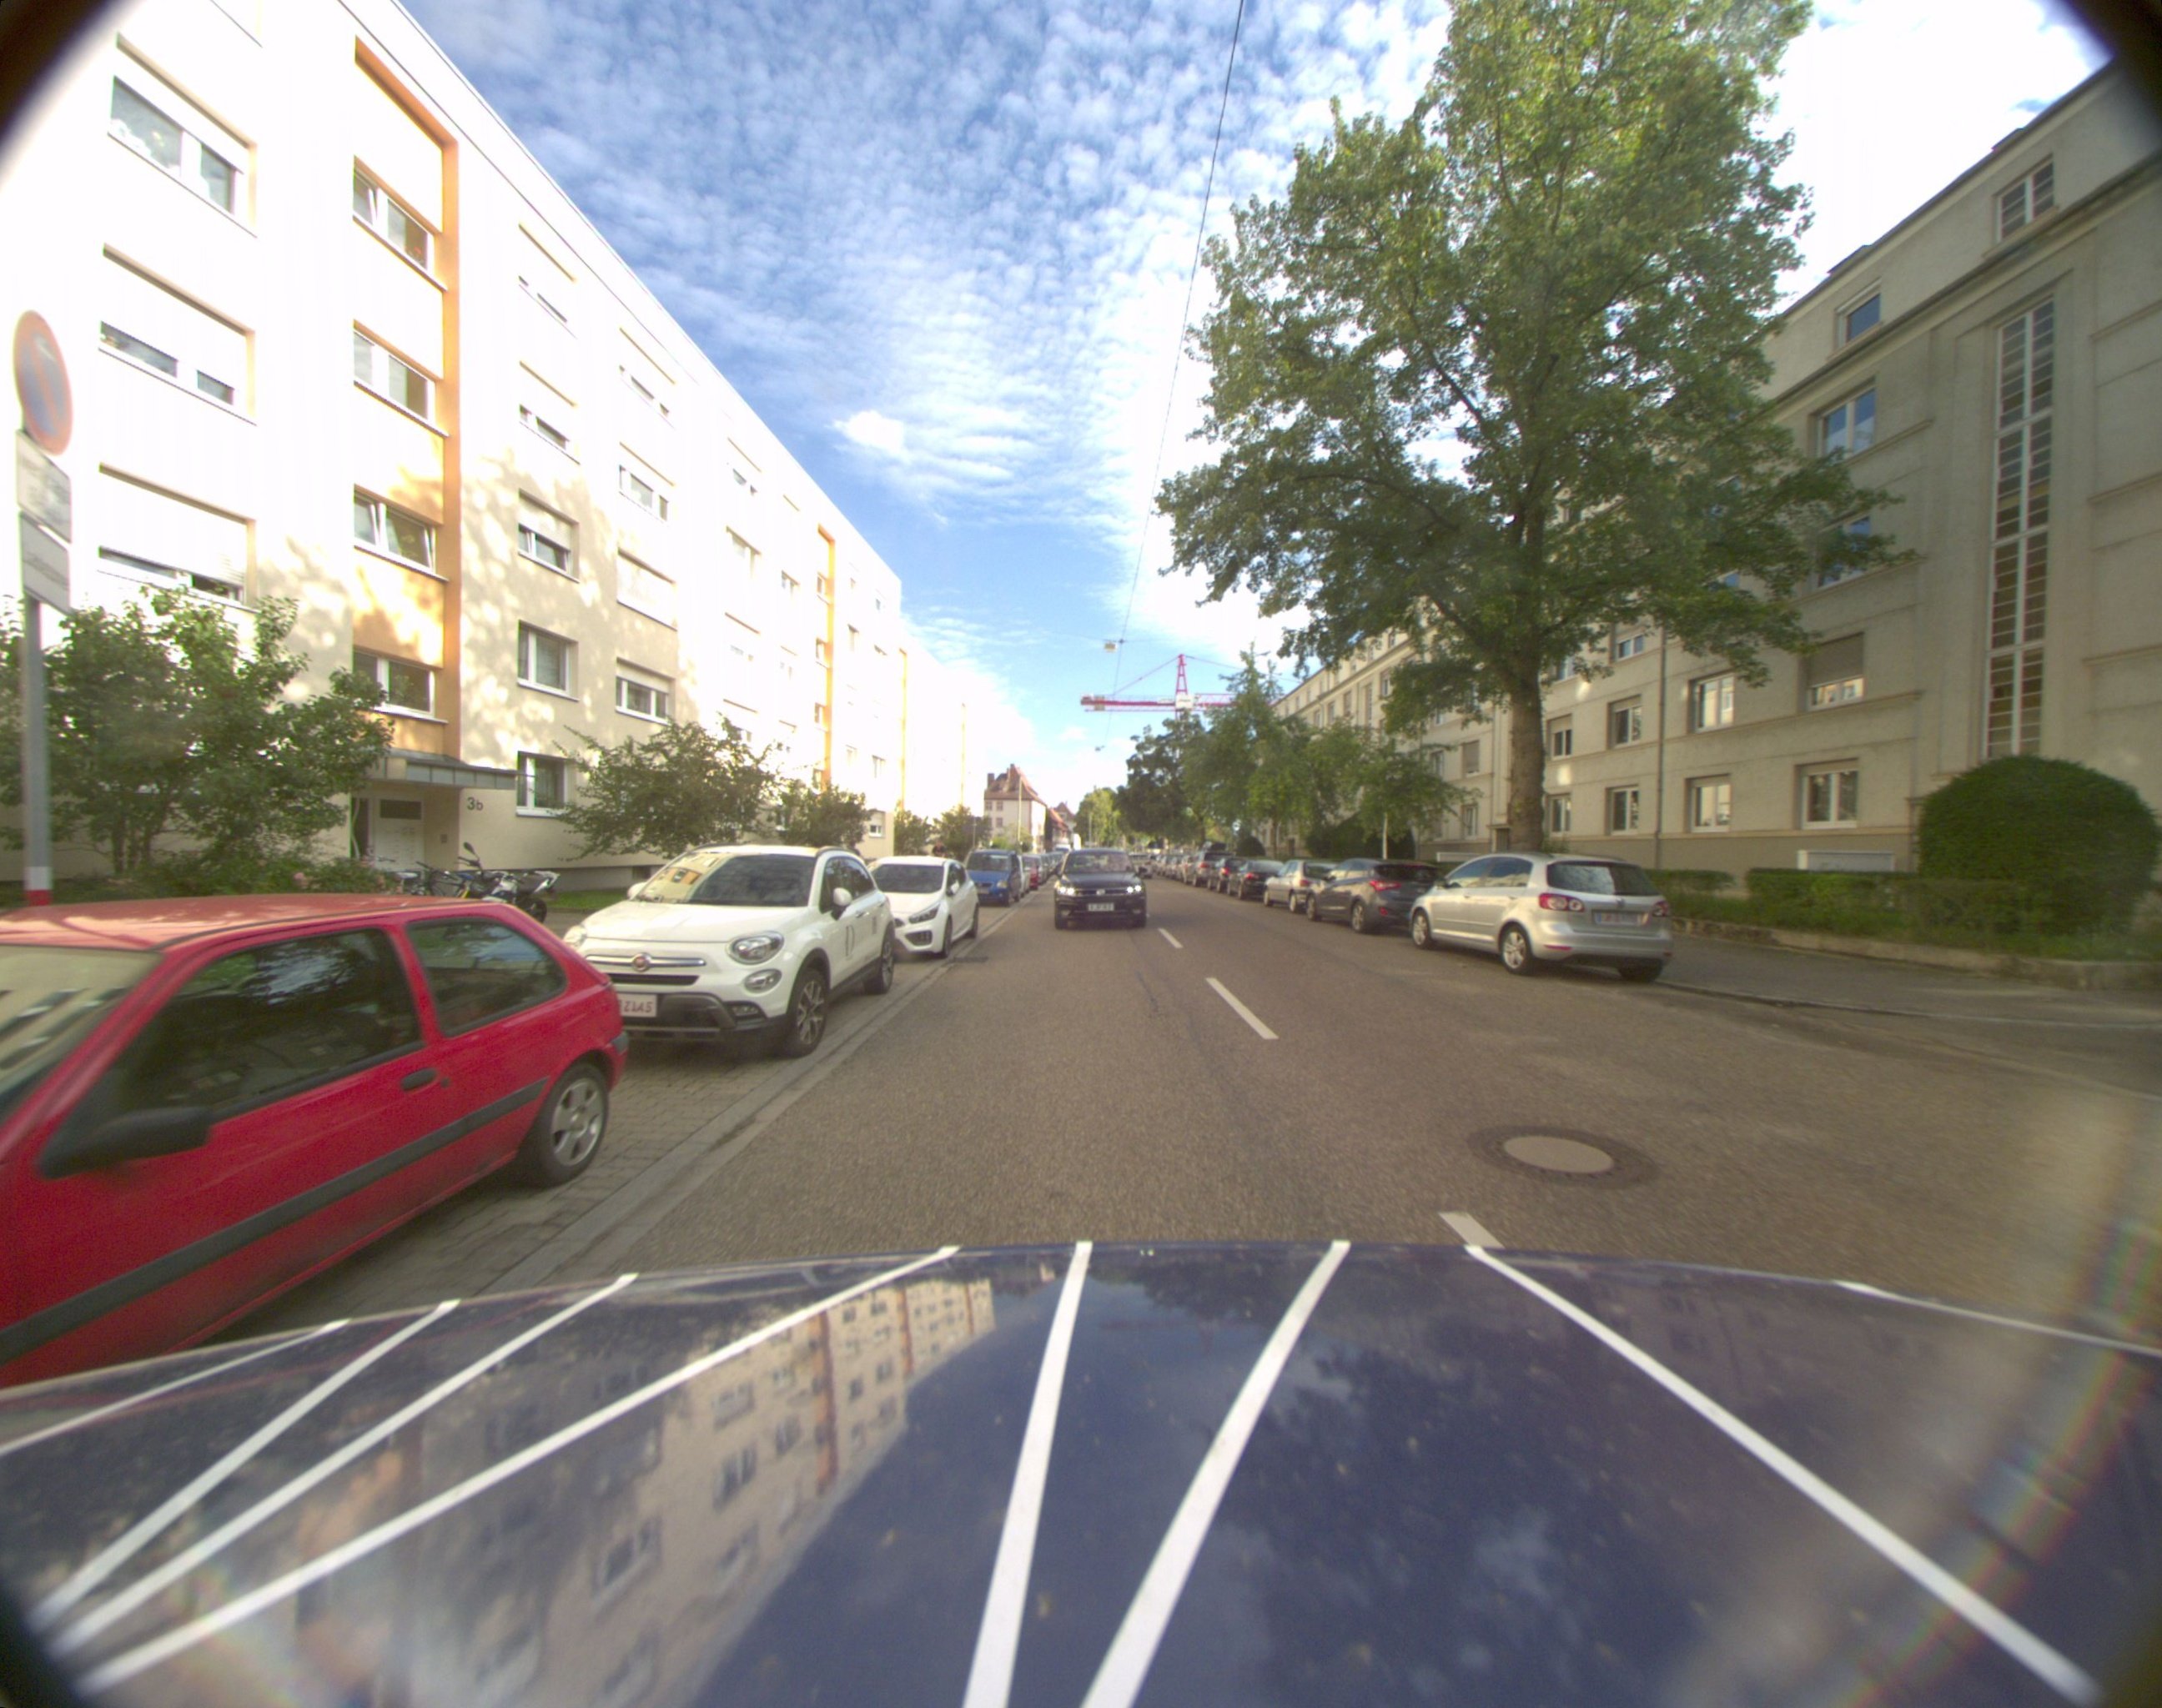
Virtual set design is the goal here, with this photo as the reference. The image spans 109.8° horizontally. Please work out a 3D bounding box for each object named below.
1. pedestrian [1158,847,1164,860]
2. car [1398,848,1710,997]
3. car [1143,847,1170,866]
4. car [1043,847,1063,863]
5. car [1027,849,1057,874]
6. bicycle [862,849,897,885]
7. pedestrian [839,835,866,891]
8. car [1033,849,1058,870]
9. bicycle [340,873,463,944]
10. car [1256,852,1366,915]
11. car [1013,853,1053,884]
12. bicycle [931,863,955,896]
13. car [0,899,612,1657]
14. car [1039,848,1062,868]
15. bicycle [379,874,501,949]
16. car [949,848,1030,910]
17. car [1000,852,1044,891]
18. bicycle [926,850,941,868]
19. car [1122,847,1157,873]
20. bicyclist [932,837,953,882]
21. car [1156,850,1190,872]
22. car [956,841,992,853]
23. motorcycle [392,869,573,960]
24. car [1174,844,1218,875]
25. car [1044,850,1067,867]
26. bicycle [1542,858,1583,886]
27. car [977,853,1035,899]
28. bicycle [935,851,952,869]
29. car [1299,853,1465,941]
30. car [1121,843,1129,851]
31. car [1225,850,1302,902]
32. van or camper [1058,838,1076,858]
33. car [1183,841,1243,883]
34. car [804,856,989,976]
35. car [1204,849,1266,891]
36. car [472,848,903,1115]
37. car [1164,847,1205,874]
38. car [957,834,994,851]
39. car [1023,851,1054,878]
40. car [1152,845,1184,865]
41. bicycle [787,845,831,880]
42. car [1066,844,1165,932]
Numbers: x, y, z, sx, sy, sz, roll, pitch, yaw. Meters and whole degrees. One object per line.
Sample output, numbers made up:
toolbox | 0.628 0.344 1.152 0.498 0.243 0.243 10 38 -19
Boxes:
pedestrian | 10.864 -0.122 103.459 0.743 1.758 0.775 0 1 -1
car | 6.230 0.769 10.664 1.743 1.611 3.993 3 1 -1
car | 6.620 0.152 66.999 1.860 1.477 4.797 4 1 0
car | -3.056 0.086 82.962 1.767 1.515 4.330 4 1 2
car | -2.545 0.460 50.604 1.688 1.477 4.292 2 1 0
bicycle | -7.769 0.469 29.441 0.605 1.284 2.635 1 1 1
pedestrian | -7.088 0.265 23.607 0.543 1.711 0.771 0 1 6
car | -2.536 0.380 55.722 1.704 1.455 4.178 2 1 -2
bicycle | -9.988 0.773 11.235 0.460 0.921 1.516 2 1 0
car | 6.109 0.723 20.648 1.604 1.410 3.963 4 1 -1
car | -2.376 0.698 38.614 1.666 1.408 4.058 2 1 1
bicycle | -5.146 0.929 28.409 0.525 1.128 1.929 1 1 0
car | -3.040 0.967 1.968 1.519 1.390 3.674 2 1 -3
car | -2.410 0.290 60.971 1.688 1.492 3.873 2 1 -1
bicycle | -9.154 0.792 10.918 0.460 0.936 1.516 2 1 0
car | -2.675 0.667 23.194 1.732 1.640 4.117 2 1 3
car | -2.534 0.721 33.385 1.733 1.506 4.189 2 1 -3
bicycle | -9.342 0.316 48.267 0.503 1.024 2.095 4 1 0
car | 3.446 0.332 45.584 1.863 1.520 4.010 1 1 1
bicyclist | -5.147 0.192 28.265 0.625 1.668 0.893 1 1 0
car | 6.363 0.457 53.029 1.742 1.385 4.665 3 1 0
car | -13.443 -0.892 95.436 4.084 1.473 1.872 1 1 9
motorcycle | -8.244 0.783 10.644 0.632 1.038 2.393 2 1 0
car | 6.355 0.269 42.423 1.860 1.564 4.459 2 1 1
car | -2.205 0.372 66.029 1.687 1.427 4.206 2 1 2
bicycle | 18.285 0.669 28.881 0.543 1.050 1.541 0 1 0
car | -2.677 0.755 27.915 1.733 1.453 4.115 2 1 0
bicycle | -8.748 0.365 48.369 0.595 1.024 2.118 4 1 0
car | 5.957 0.771 15.580 1.618 1.460 4.012 3 0 -2
car | 10.562 -1.694 181.981 1.834 1.659 4.084 -1 1 1
car | 6.137 0.683 26.033 1.689 1.472 4.452 4 1 3
van or camper | -1.803 -0.827 100.488 2.165 2.512 5.913 3 1 0
car | 6.233 0.348 36.569 1.882 1.782 4.969 3 1 -1
car | -2.743 0.832 12.449 1.732 1.479 4.641 2 1 2
car | 6.260 0.611 31.233 1.689 1.472 4.119 4 1 1
car | -2.903 0.779 6.740 1.733 1.571 4.116 2 1 -1
car | 6.394 0.344 47.500 1.860 1.477 4.943 4 1 0
car | -13.597 -1.460 98.328 4.276 2.179 2.367 1 1 7
car | -2.477 0.593 45.161 1.666 1.482 3.941 2 0 -1
car | 6.782 0.054 59.840 1.860 1.477 4.682 2 1 -1
bicycle | -10.459 0.281 29.336 0.728 1.284 2.635 0 1 1
car | 0.801 0.621 16.369 1.859 1.674 4.001 0 1 4
